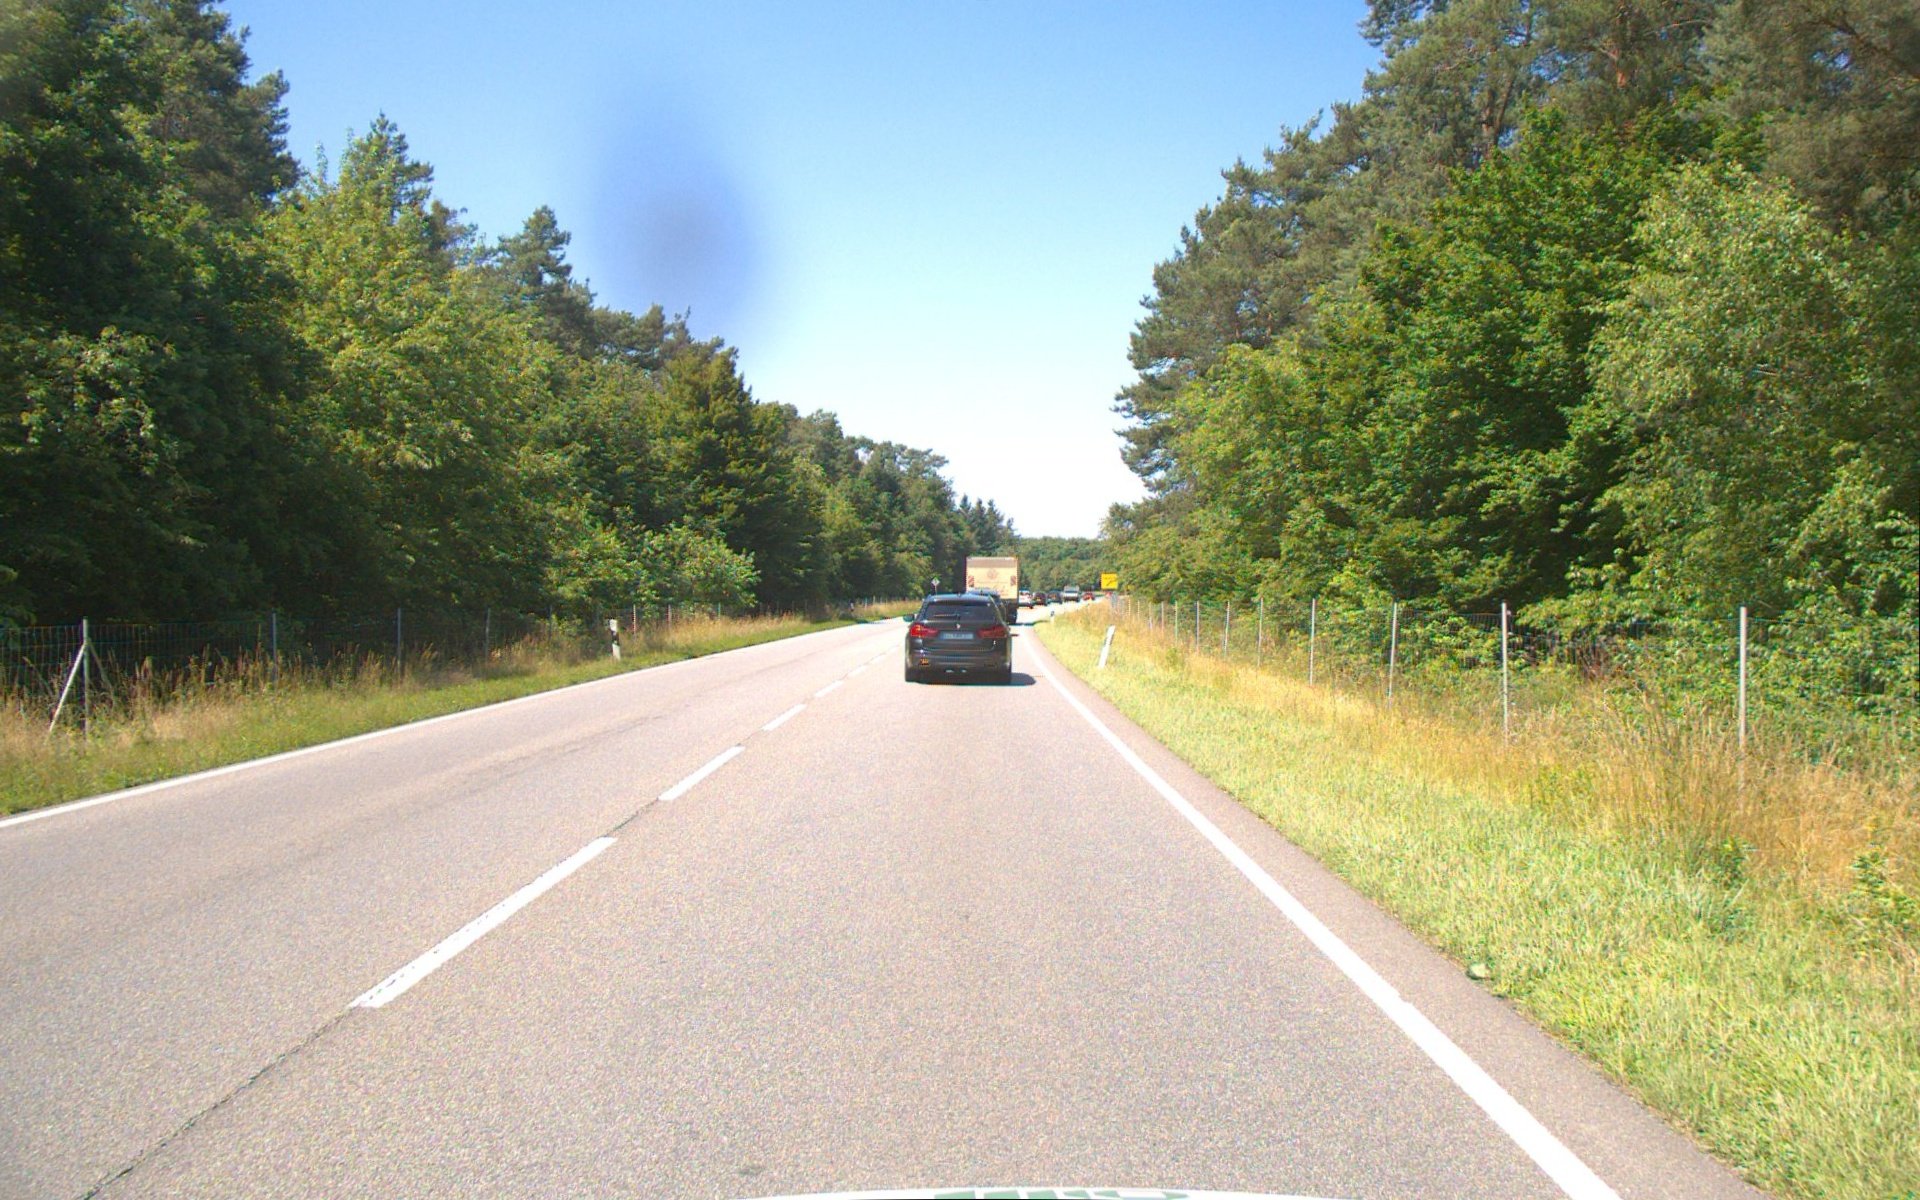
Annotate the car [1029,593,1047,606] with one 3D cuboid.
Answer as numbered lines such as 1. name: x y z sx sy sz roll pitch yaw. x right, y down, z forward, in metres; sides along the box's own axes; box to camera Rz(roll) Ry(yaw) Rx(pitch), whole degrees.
1. car: 8.871 -0.036 188.088 1.952 1.445 4.002 1 1 3

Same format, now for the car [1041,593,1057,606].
1. car: 11.431 -0.076 212.986 1.952 1.665 4.002 -1 0 3

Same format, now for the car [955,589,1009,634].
1. car: 0.775 0.398 61.138 1.907 1.568 4.000 -1 0 0

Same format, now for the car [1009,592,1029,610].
1. car: 5.519 0.044 155.054 1.824 1.633 4.001 -1 0 1

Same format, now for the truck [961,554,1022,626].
1. truck: 1.649 -0.512 82.734 2.904 3.447 6.440 0 0 2

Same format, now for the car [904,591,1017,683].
1. car: -0.057 0.594 29.158 1.784 1.496 3.998 0 0 -3

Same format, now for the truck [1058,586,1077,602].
1. truck: 15.597 -0.934 239.787 2.510 2.240 4.977 -1 1 5
